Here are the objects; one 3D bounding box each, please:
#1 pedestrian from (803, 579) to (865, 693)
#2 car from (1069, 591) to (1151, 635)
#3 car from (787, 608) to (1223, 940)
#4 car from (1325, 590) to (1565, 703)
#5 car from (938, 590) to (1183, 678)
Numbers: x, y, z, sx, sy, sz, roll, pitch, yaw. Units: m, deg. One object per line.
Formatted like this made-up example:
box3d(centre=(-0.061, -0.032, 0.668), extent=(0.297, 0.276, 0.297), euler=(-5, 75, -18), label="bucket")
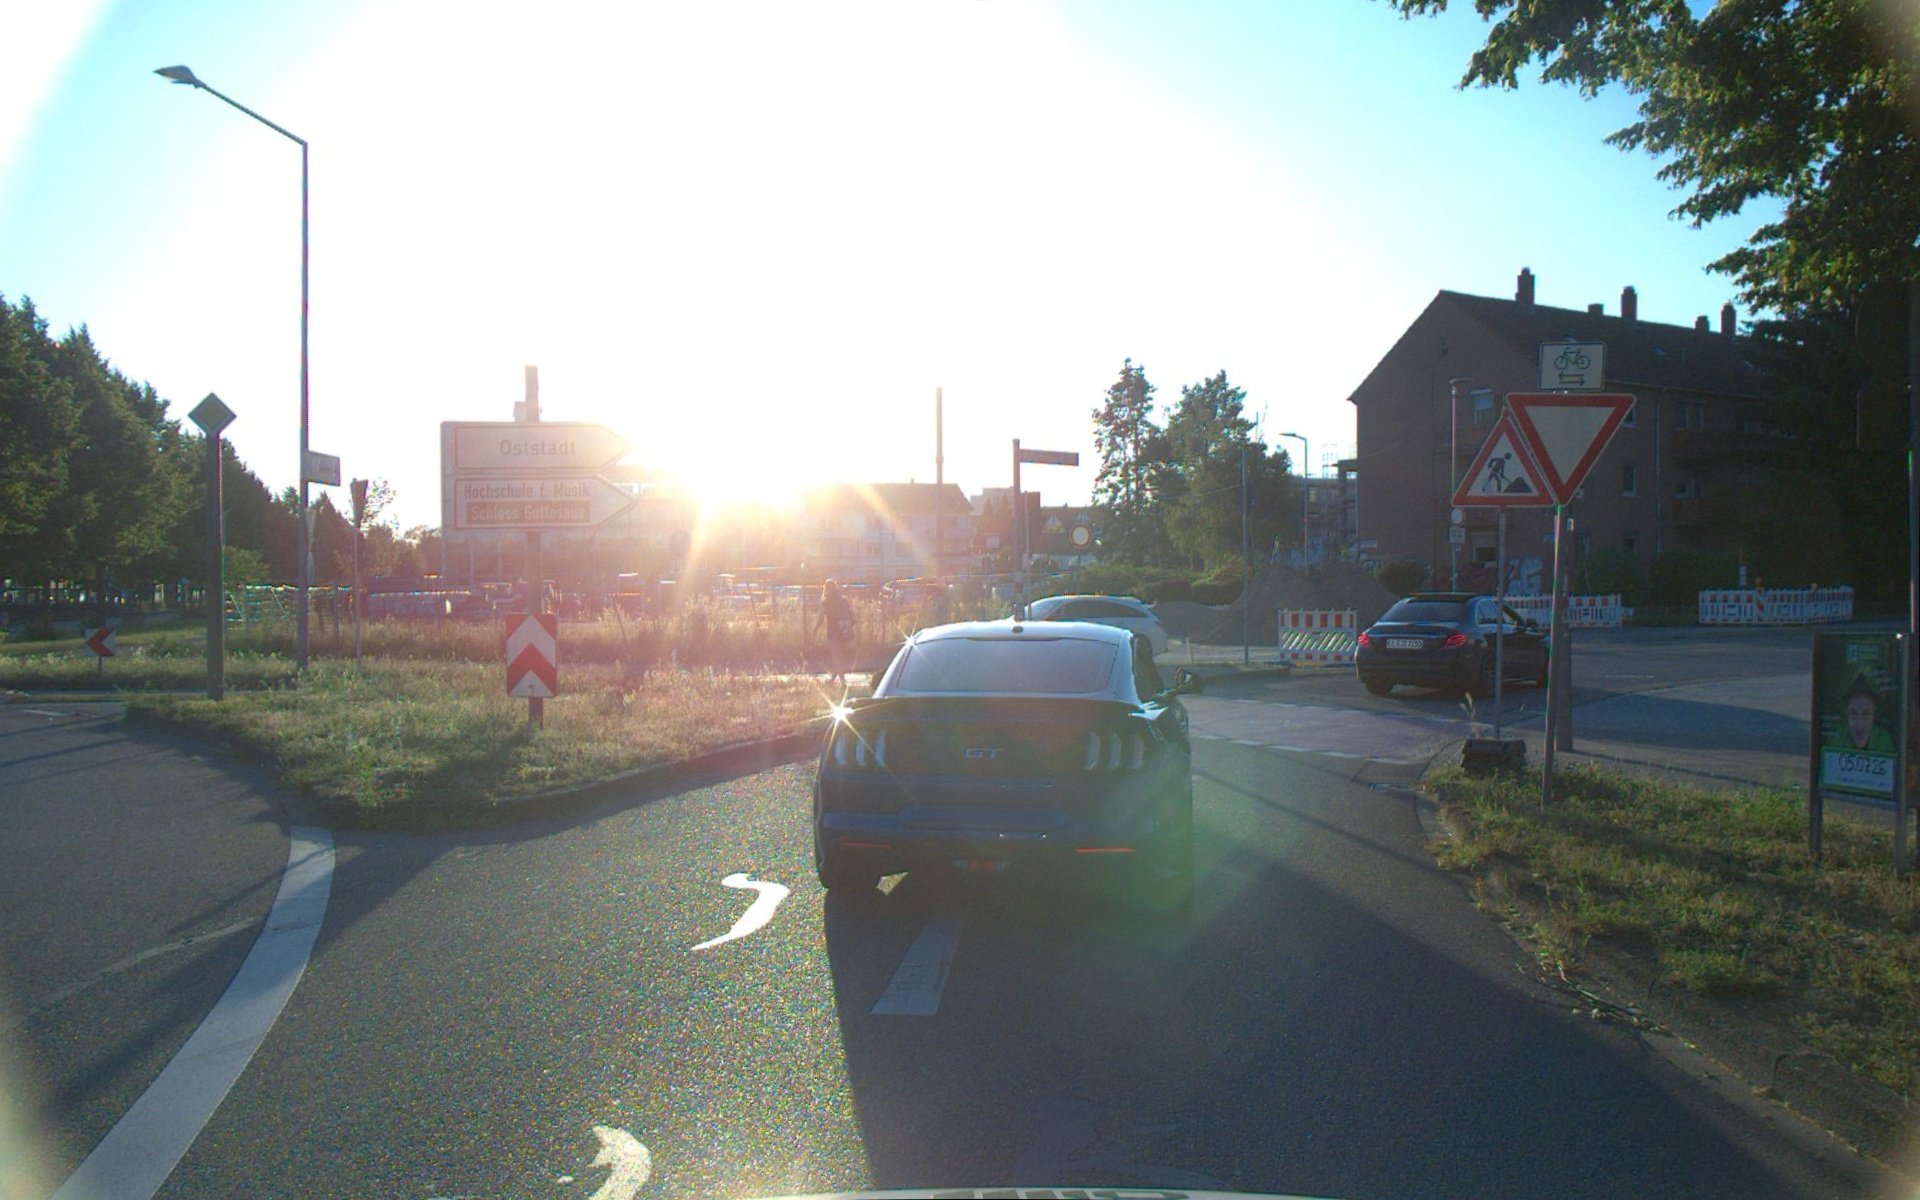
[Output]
box3d(centre=(-1.938, 0.538, 25.407), extent=(0.829, 1.716, 0.884), euler=(-1, 0, -13), label="pedestrian")
box3d(centre=(6.134, 0.522, 68.165), extent=(1.963, 1.736, 3.980), euler=(-1, 0, -18), label="car")
box3d(centre=(0.435, 0.764, 9.566), extent=(1.910, 1.365, 4.674), euler=(0, 0, 6), label="car")
box3d(centre=(7.251, 0.607, 24.448), extent=(1.920, 1.452, 4.409), euler=(0, 1, 38), label="car")
box3d(centre=(2.049, 0.634, 33.610), extent=(4.588, 1.478, 2.057), euler=(-3, 2, -28), label="car")
